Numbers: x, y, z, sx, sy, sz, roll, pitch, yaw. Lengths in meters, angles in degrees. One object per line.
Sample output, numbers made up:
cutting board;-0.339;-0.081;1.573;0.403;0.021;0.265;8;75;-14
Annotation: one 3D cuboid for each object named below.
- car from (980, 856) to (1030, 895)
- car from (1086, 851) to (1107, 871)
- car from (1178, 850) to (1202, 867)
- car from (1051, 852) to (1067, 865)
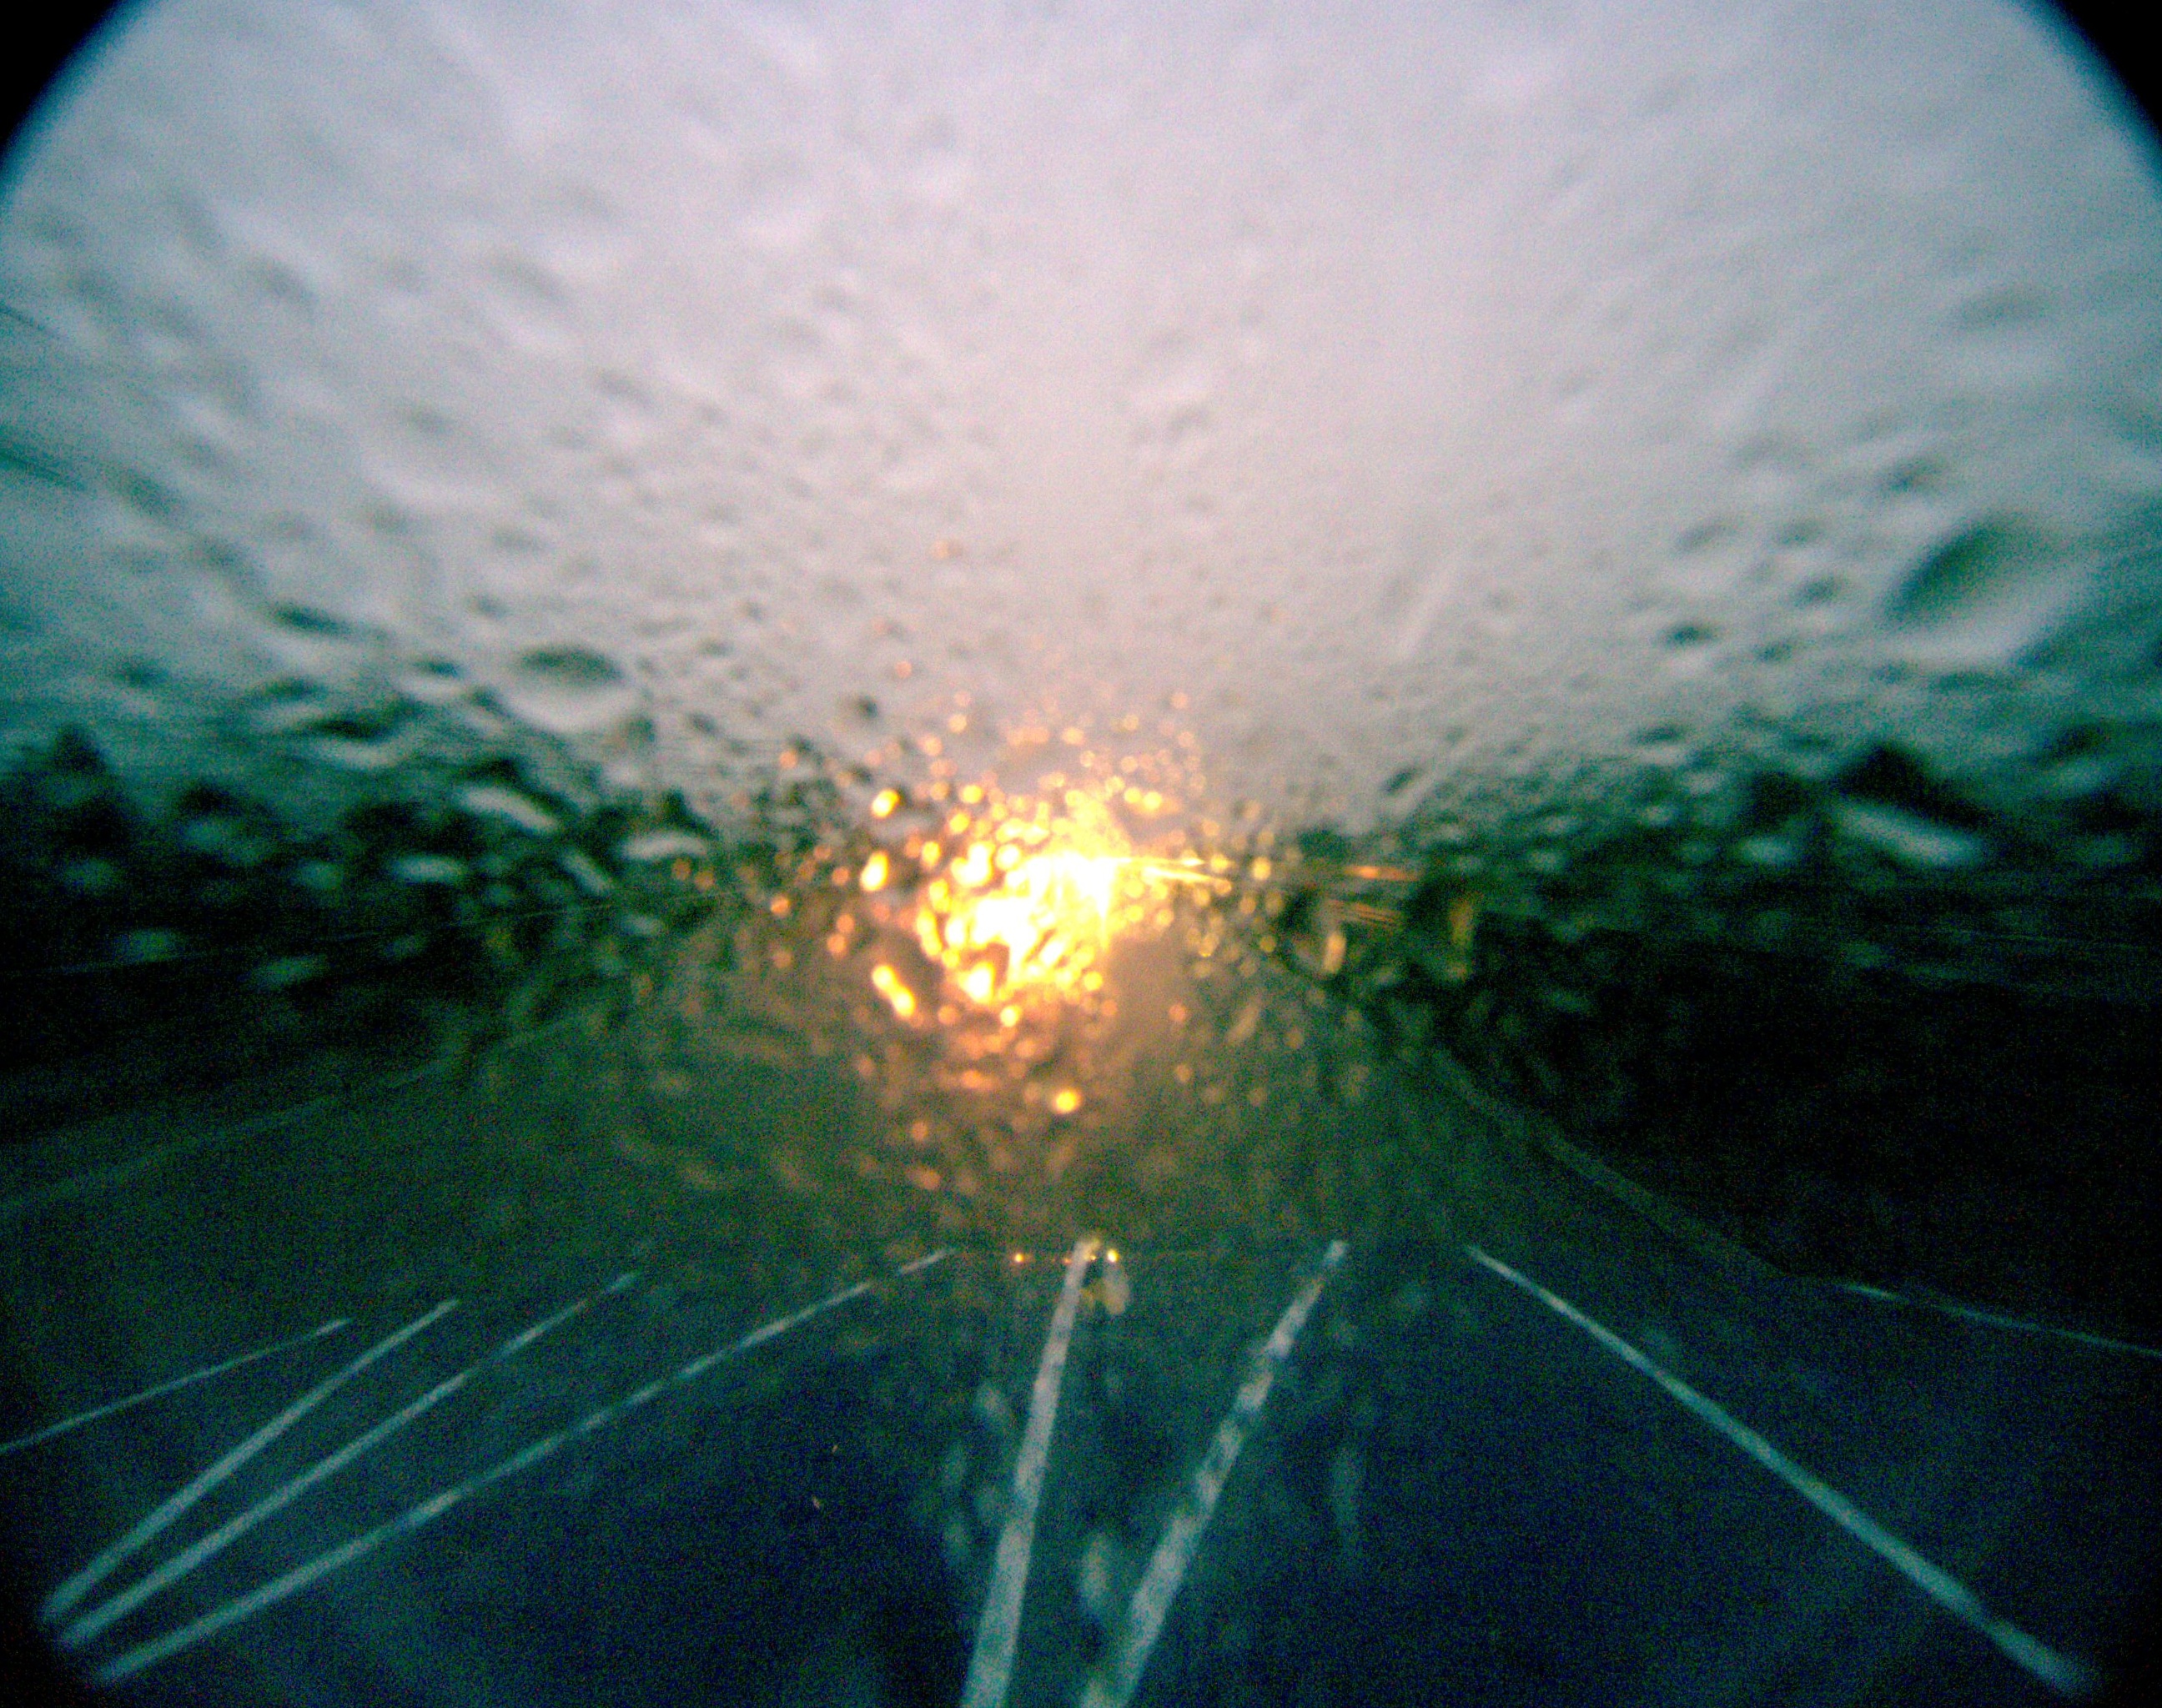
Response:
car;-3.072;0.826;31.418;1.631;1.466;4.000;-1;0;1
car;1.201;0.532;60.226;1.631;1.466;4.000;-1;0;1
car;8.954;0.346;62.616;1.543;1.331;3.718;-1;0;1
car;-2.453;0.505;85.535;1.631;1.466;4.000;-1;0;1
